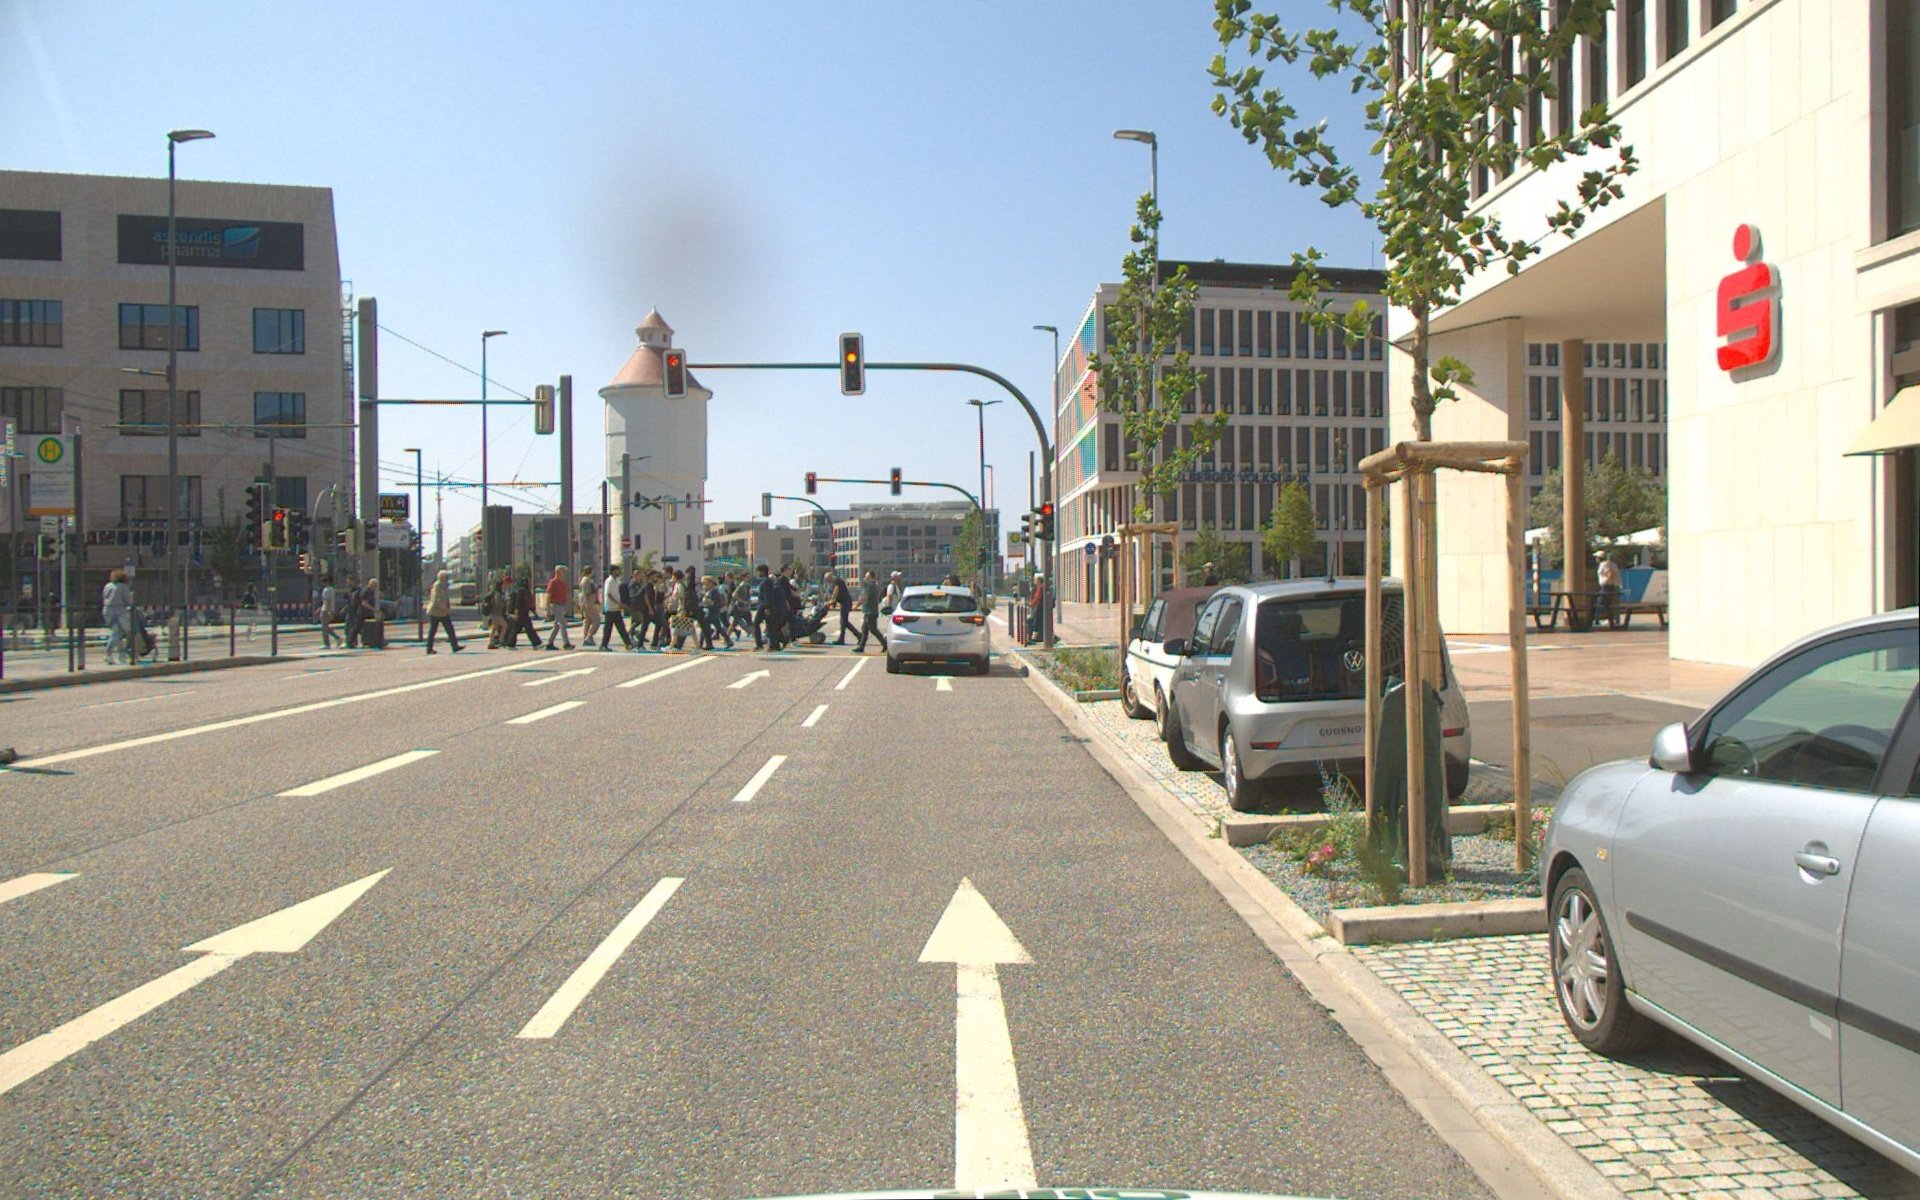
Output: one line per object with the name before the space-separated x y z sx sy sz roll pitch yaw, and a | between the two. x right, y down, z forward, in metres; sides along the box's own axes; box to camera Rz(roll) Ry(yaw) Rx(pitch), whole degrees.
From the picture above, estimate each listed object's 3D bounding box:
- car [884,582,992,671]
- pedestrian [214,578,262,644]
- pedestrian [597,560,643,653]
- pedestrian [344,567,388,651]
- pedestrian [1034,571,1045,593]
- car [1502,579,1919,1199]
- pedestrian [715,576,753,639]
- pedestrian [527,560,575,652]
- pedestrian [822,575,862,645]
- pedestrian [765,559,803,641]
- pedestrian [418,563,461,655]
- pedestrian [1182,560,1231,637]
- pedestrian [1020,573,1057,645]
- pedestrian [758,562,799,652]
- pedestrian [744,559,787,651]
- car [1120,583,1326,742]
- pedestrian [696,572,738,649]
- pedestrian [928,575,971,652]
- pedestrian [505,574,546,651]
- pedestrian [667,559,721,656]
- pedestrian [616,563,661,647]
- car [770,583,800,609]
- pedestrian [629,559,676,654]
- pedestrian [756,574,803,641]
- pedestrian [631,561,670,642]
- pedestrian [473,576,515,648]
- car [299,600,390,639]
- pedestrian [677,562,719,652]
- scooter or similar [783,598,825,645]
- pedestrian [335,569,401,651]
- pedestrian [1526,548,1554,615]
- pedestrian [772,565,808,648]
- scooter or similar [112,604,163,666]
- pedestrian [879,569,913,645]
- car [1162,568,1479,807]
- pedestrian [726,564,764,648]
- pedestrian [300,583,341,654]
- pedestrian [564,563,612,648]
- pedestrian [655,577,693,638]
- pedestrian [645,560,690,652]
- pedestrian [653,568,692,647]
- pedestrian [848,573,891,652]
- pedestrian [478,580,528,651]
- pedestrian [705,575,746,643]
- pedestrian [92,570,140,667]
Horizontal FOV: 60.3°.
car | -0.330 0.451 28.827 1.735 1.419 3.532 1 -1 1
pedestrian | -21.510 0.322 49.268 0.869 1.923 0.984 0 0 19
pedestrian | -7.144 0.128 34.794 0.870 1.923 0.691 -1 0 -6
pedestrian | -14.808 0.216 41.261 1.005 2.049 0.949 -1 0 -19
pedestrian | 6.227 -1.396 129.148 0.778 1.675 0.890 -1 0 -2
car | 2.776 0.674 4.044 1.572 1.412 3.814 -2 1 -1
pedestrian | -6.106 0.199 44.657 0.869 1.675 0.797 -1 0 3
pedestrian | -8.680 0.119 35.107 0.870 1.923 0.691 -1 0 -6
pedestrian | -2.898 0.238 40.587 0.872 1.675 0.794 -1 0 -11
pedestrian | -4.199 0.002 39.512 0.824 1.923 0.692 -1 0 0
pedestrian | -10.982 0.186 34.936 0.623 1.923 0.796 -1 0 1
pedestrian | 5.452 -0.043 36.626 0.970 1.684 0.692 -1 0 1
pedestrian | 1.867 0.206 39.320 0.869 1.675 0.797 0 0 3
pedestrian | -3.944 0.144 36.035 0.870 1.923 0.795 -1 0 -6
pedestrian | -4.142 0.107 35.197 0.870 1.923 0.795 -1 0 -6
car | 2.563 0.547 16.891 1.400 1.414 3.999 -1 0 -1
pedestrian | -5.402 0.230 36.780 0.777 1.675 0.891 -1 0 1
pedestrian | -0.221 0.294 35.855 0.750 1.648 0.692 0 0 16
pedestrian | -9.449 0.269 35.993 0.620 1.646 0.768 -1 0 5
pedestrian | -5.386 0.144 33.545 0.993 1.923 0.798 -1 0 -4
pedestrian | -7.480 0.120 38.523 0.870 1.923 0.796 -1 0 -1
car | -10.776 -0.214 102.062 1.555 1.557 3.691 0 -1 -2
pedestrian | -6.357 0.130 34.202 0.870 1.923 0.691 -1 0 -6
pedestrian | -5.058 0.212 46.406 1.156 1.852 1.069 -1 0 3
pedestrian | -7.461 0.044 39.912 0.719 1.923 0.714 1 0 4
pedestrian | -10.473 0.260 37.203 0.713 1.603 0.642 -1 0 4
car | -29.698 0.943 79.899 3.873 1.848 1.792 0 -1 -13
pedestrian | -5.693 0.150 35.994 0.715 1.923 0.821 -1 0 5
scooter or similar | -3.810 0.517 40.361 0.933 1.137 0.765 -1 0 -11
pedestrian | -14.221 0.231 39.755 1.145 1.923 1.060 -1 2 0
pedestrian | 17.916 -0.583 51.091 0.630 2.049 0.622 0 0 -1
pedestrian | -3.983 0.146 38.729 0.750 1.923 0.692 -1 0 0
scooter or similar | -14.619 0.610 29.405 0.494 1.077 0.833 0 0 -1
pedestrian | -1.504 0.158 38.764 0.750 1.764 0.692 -1 0 0
car | 2.501 0.537 12.218 1.524 1.498 3.469 -1 0 -1
pedestrian | -4.944 0.132 38.037 0.750 1.923 0.692 -1 0 0
pedestrian | -15.761 0.450 40.767 0.880 1.703 1.008 -1 0 -19
pedestrian | -8.528 0.119 37.923 0.869 1.923 0.797 -1 0 4
pedestrian | -7.887 0.205 45.595 0.869 1.675 0.797 -1 0 3
pedestrian | -6.236 0.122 35.282 0.870 1.923 0.691 -1 0 -6
pedestrian | -6.468 0.165 37.240 0.750 1.764 0.692 -1 0 0
pedestrian | -1.931 0.255 35.336 0.870 1.663 0.691 -1 0 -6
pedestrian | -10.797 0.359 39.118 0.891 1.665 0.814 -1 0 4
pedestrian | -5.829 0.217 41.181 0.869 1.675 0.797 -1 0 3
pedestrian | -14.612 0.314 28.651 0.494 1.650 0.650 0 0 -1
